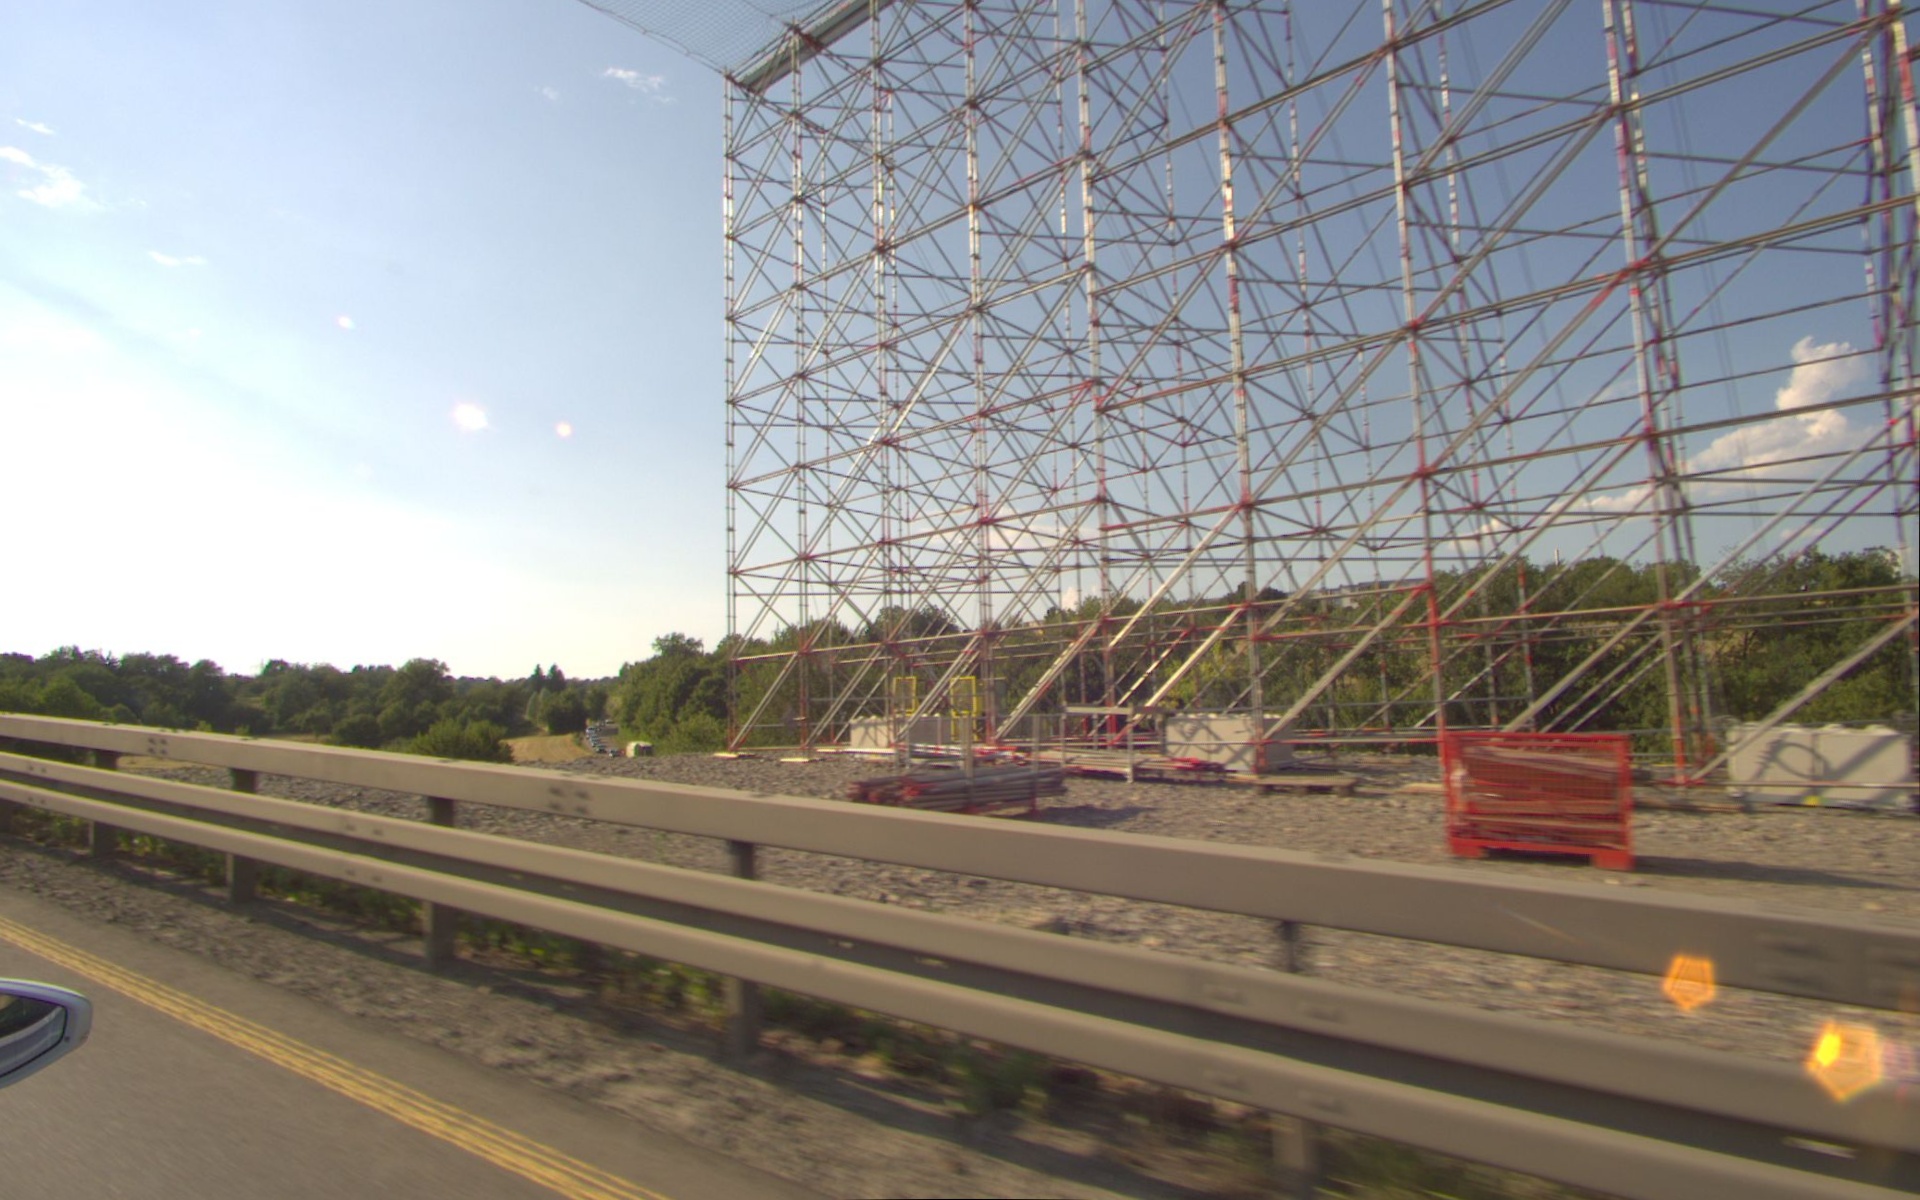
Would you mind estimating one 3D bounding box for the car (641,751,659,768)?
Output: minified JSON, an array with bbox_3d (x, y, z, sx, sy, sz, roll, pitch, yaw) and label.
[{"bbox_3d":[-47.386,24.340,153.083,1.854,2.039,3.983,0,-2,-28],"label":"car"}]
